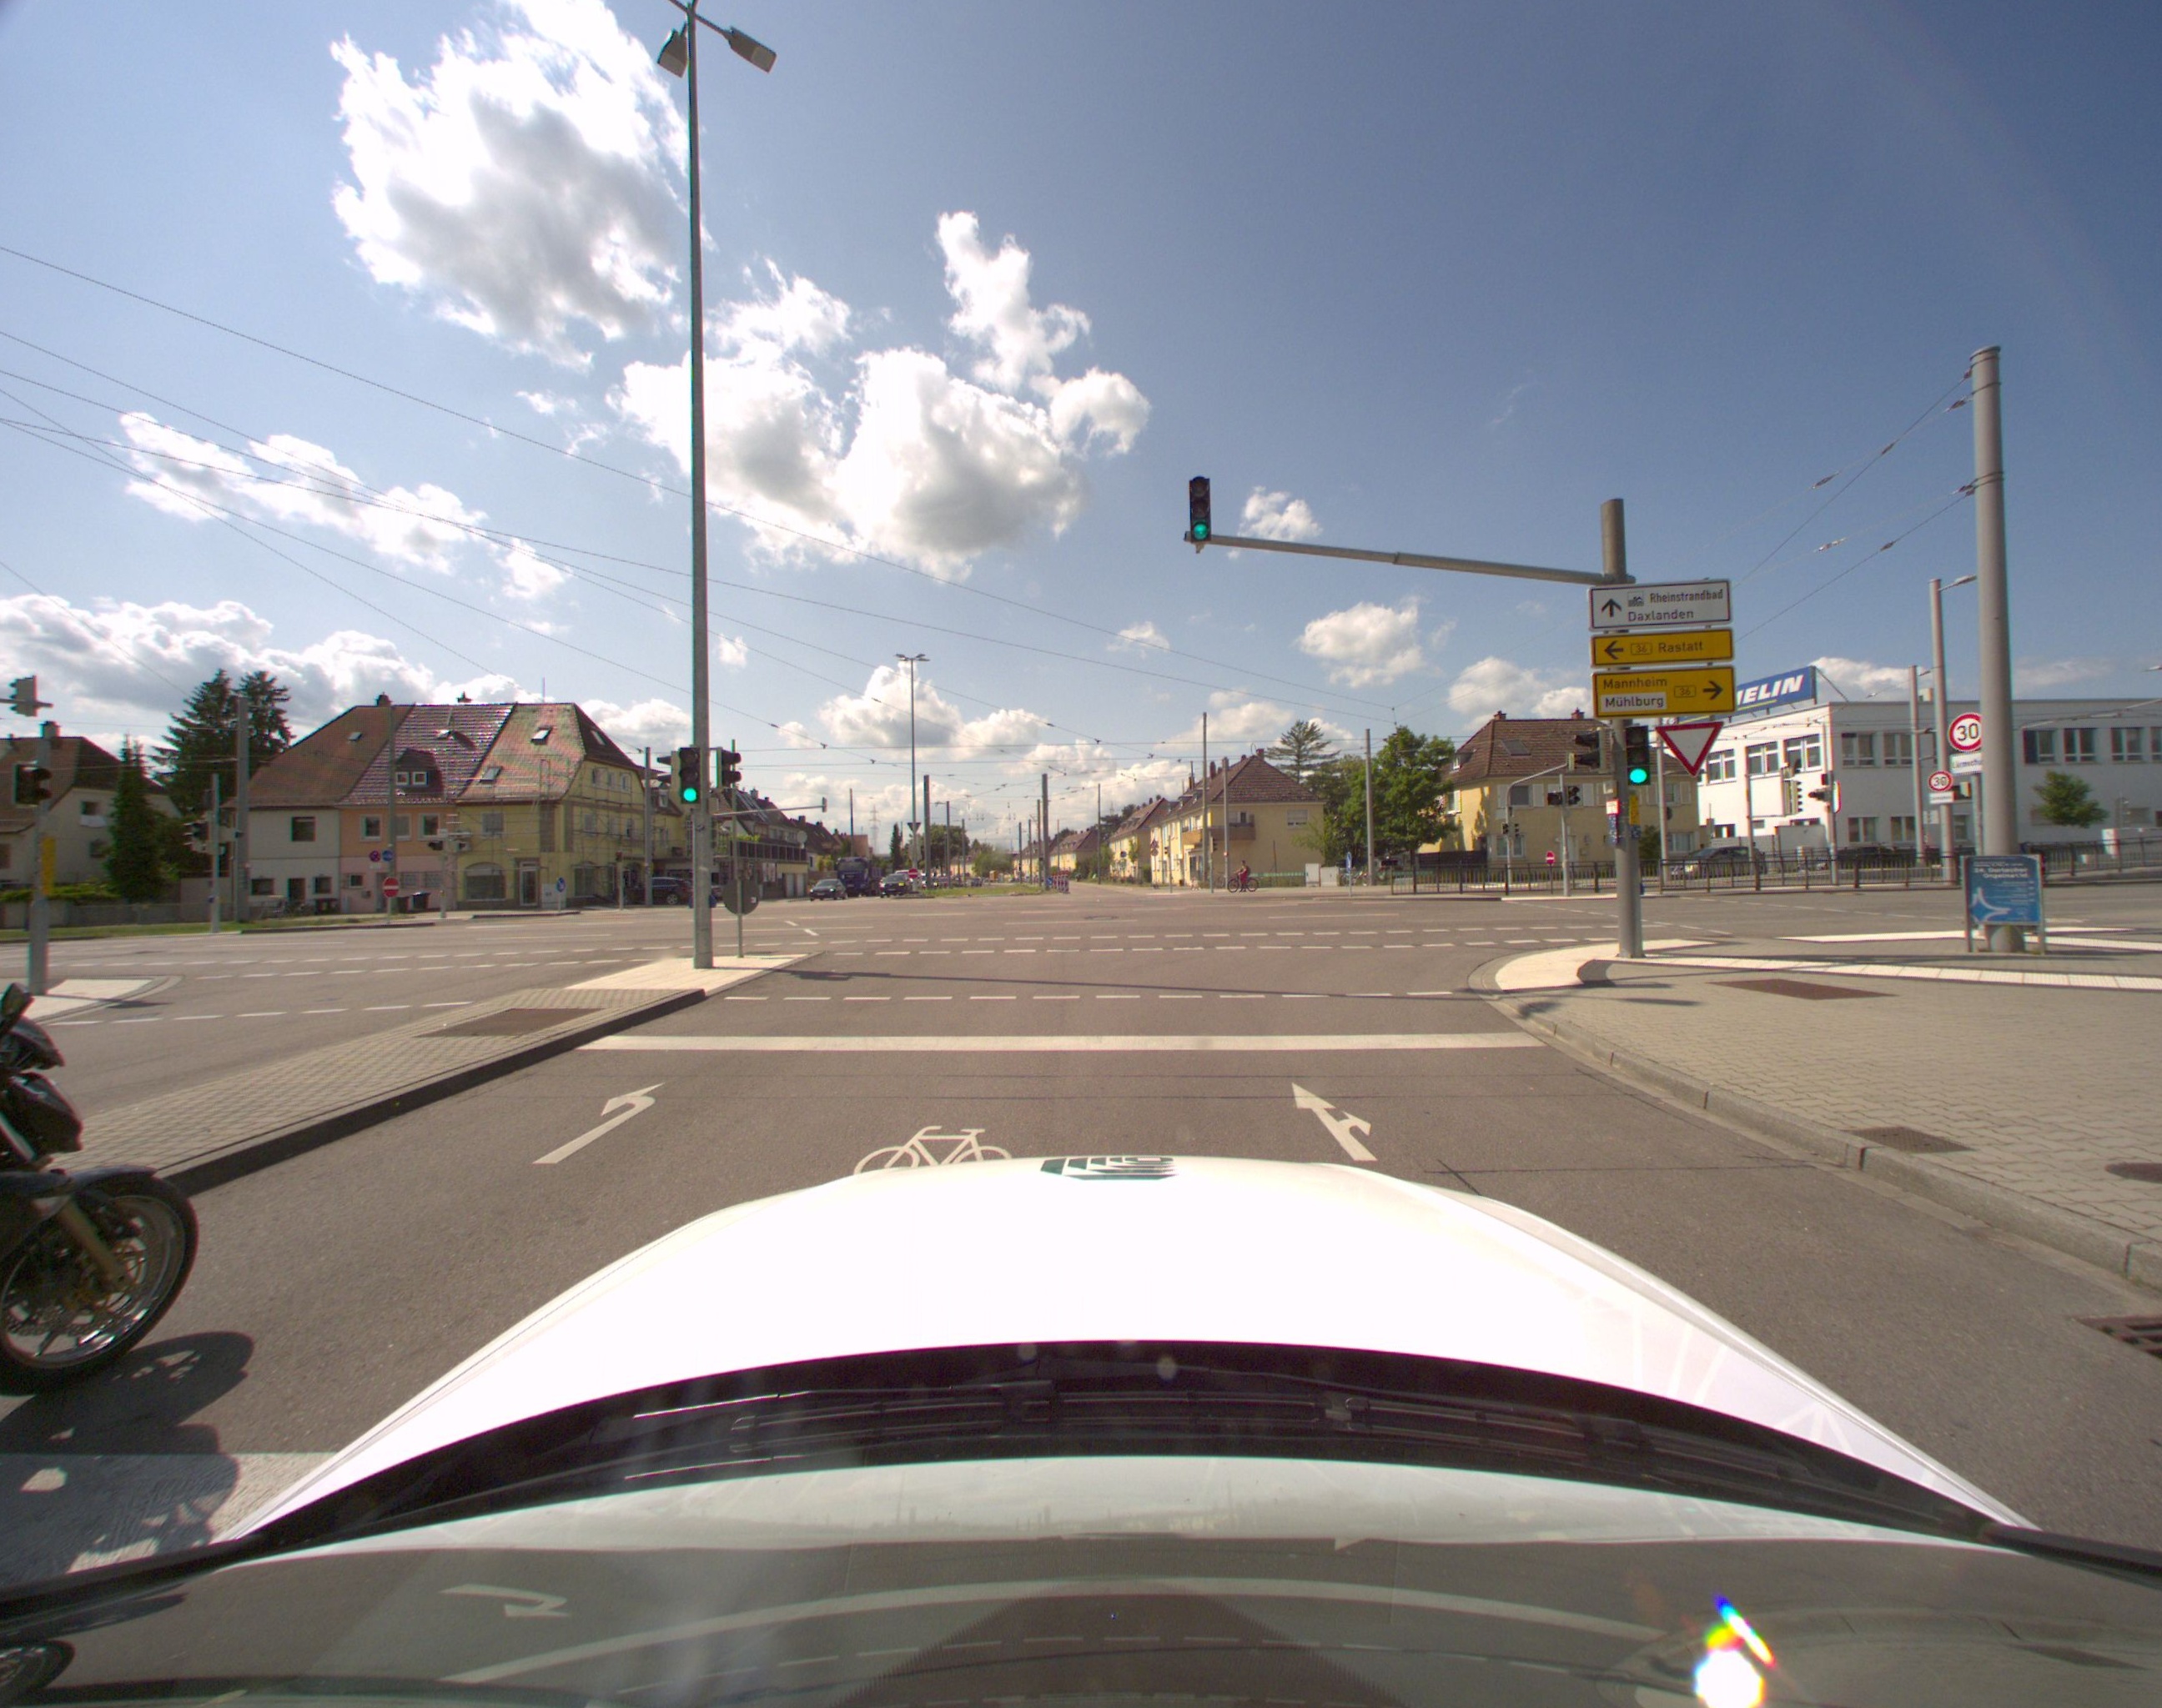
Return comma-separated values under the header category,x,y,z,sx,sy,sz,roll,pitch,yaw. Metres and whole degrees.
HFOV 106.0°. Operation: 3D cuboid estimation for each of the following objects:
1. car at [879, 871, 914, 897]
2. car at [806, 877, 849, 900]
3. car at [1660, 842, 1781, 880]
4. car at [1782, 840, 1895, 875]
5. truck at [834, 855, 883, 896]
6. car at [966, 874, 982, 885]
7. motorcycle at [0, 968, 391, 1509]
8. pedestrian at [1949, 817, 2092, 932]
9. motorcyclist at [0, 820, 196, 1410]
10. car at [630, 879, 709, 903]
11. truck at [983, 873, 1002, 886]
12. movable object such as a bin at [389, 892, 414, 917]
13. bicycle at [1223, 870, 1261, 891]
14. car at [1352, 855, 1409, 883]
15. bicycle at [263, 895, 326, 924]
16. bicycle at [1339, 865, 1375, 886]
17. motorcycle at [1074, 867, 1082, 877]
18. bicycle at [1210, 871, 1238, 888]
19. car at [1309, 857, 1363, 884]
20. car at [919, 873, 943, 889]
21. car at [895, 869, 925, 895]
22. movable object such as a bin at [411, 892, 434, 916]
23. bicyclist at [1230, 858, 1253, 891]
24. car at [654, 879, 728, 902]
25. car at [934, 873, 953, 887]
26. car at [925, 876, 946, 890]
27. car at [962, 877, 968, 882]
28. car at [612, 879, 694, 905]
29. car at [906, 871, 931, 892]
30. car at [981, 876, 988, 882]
category,x,y,z,sx,sy,sz,roll,pitch,yaw
car,-13.143,2.086,58.116,1.783,1.721,4.433,-2,-1,-5
car,-17.593,2.375,56.714,1.824,1.487,4.328,-2,-2,-4
car,28.708,0.314,36.653,3.975,1.568,1.841,-2,-1,-1
car,34.661,0.172,37.337,3.699,1.446,1.575,-2,-1,-1
truck,-18.580,1.790,68.354,2.765,3.188,7.564,-1,-2,-6
car,-17.130,4.041,130.620,1.812,1.552,4.003,-2,-1,3
motorcycle,-2.973,0.988,1.857,0.839,1.128,2.356,-2,-1,-2
pedestrian,14.940,0.320,12.983,1.027,1.735,1.040,-2,-1,-2
motorcyclist,-2.973,0.624,1.785,0.820,1.398,1.099,0,1,-2
car,-25.778,2.295,51.087,4.130,1.493,1.503,0,-1,-7
truck,-23.556,6.793,216.273,2.651,3.494,9.367,-1,-2,-22
movable object such as a bin,-35.661,2.654,42.748,0.680,1.260,0.681,-1,-1,-2
bicycle,8.984,1.503,45.455,2.034,1.102,0.710,-1,-2,-21
car,19.428,1.018,52.992,1.821,1.621,3.988,-2,-3,-8
bicycle,-41.089,2.890,42.587,0.770,1.356,2.459,-1,-1,3
bicycle,15.659,1.215,46.248,1.785,1.105,0.707,-3,-2,40
motorcycle,-0.469,2.882,130.457,1.065,1.635,2.079,-2,-2,-6
bicycle,9.344,1.668,53.287,0.596,1.096,2.258,-1,-2,-24
car,16.635,1.100,53.407,1.821,1.621,3.988,-2,-3,-8
car,-14.577,2.637,79.273,1.913,1.419,3.991,-3,-1,-6
car,-13.502,2.183,64.541,1.812,1.922,4.737,-1,-1,-6
movable object such as a bin,-35.642,2.676,44.084,0.680,1.260,0.681,-1,-1,-2
bicyclist,8.946,1.156,45.477,0.960,1.775,0.714,-1,-2,-21
car,-25.736,2.377,53.798,4.130,1.493,1.431,0,-2,-7
car,-16.193,3.060,96.021,1.840,1.494,4.847,-2,-2,-5
car,-15.356,3.042,86.140,1.841,1.413,4.905,-2,-2,-6
car,-35.411,7.773,248.245,1.263,1.426,2.644,-1,-2,-23
car,-25.402,2.249,48.403,4.130,1.493,1.176,0,-2,-7
car,-14.415,2.452,72.428,1.731,1.782,4.394,-2,-1,-7
car,-27.192,7.001,228.480,1.262,1.426,2.645,-1,-2,-22
